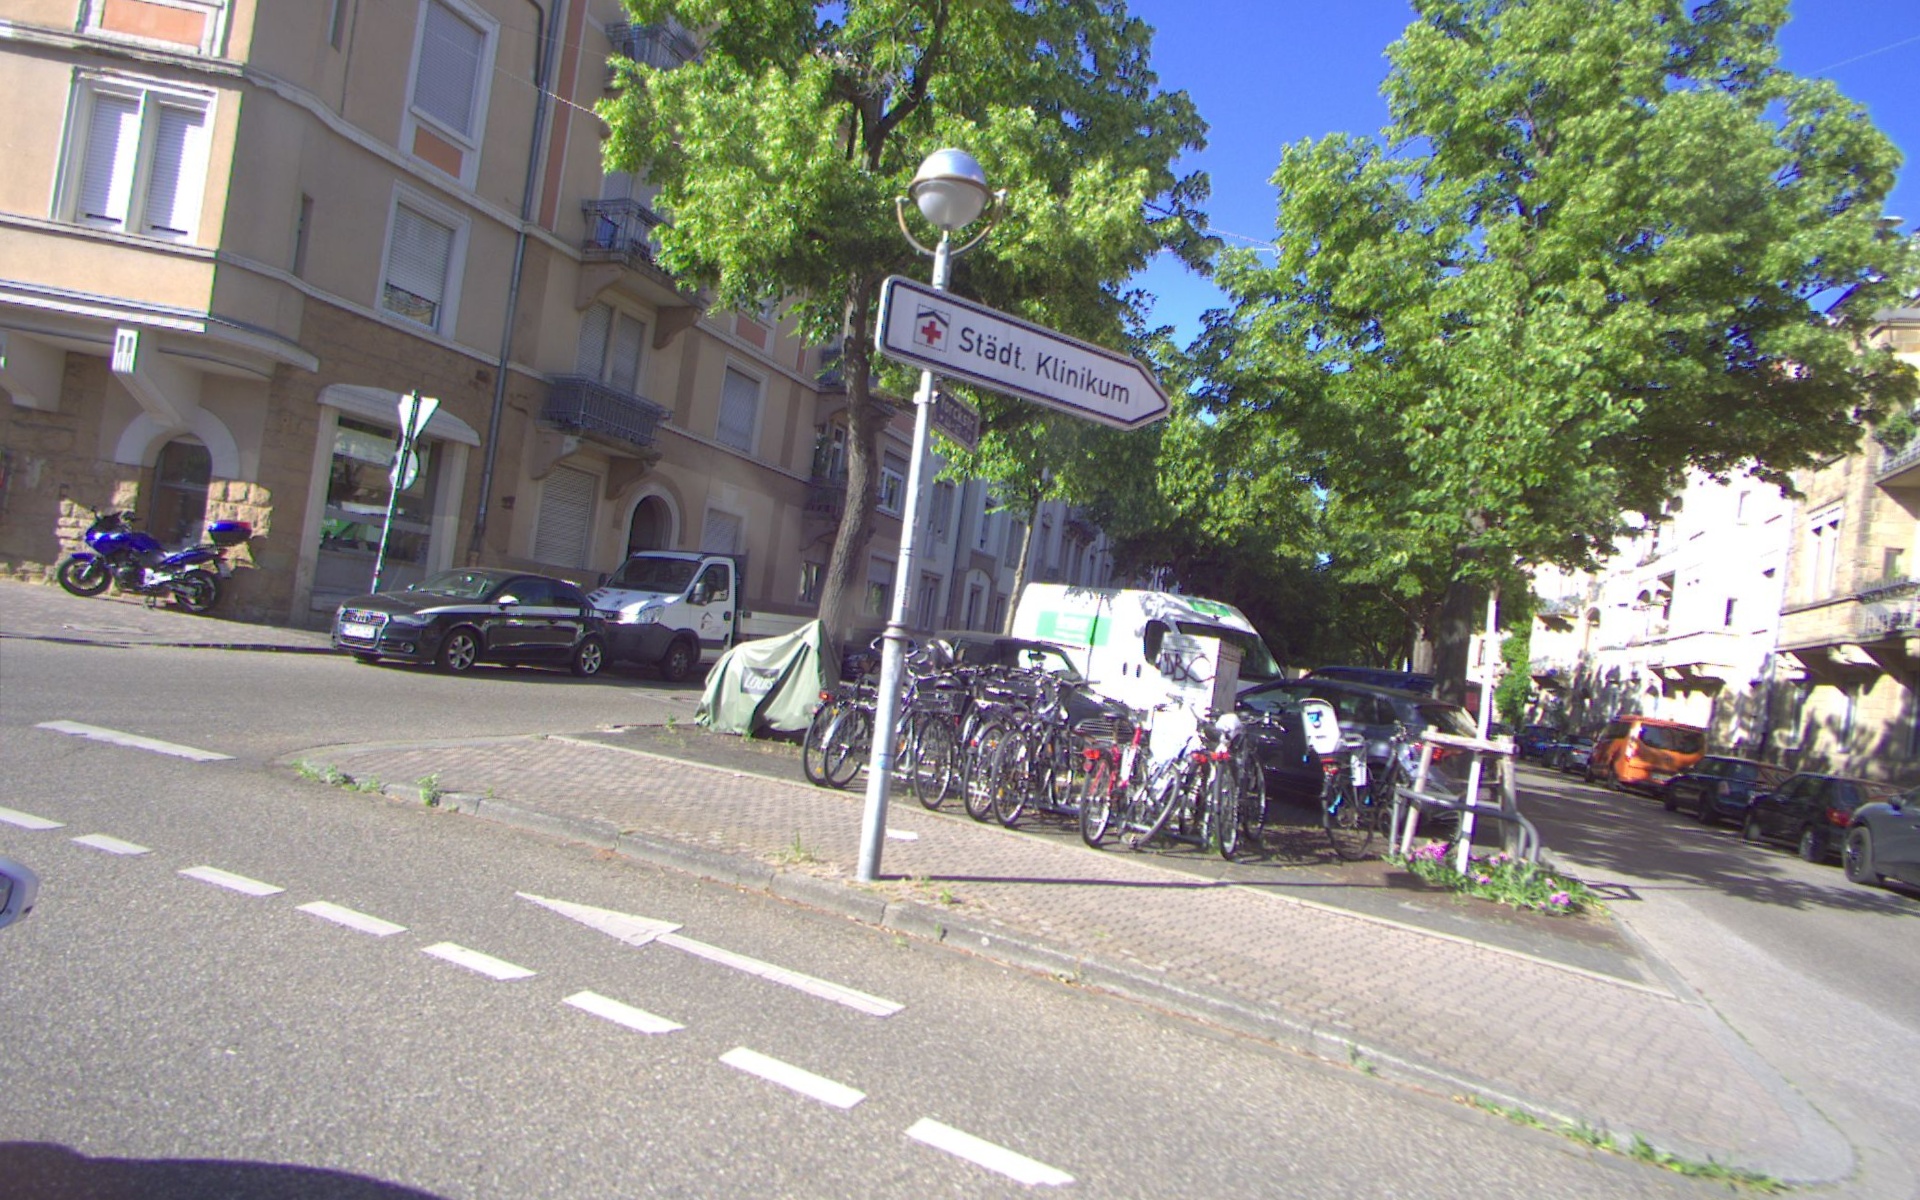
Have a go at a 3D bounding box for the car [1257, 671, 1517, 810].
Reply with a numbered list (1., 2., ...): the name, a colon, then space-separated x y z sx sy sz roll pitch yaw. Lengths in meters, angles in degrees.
1. car: 6.727 2.162 15.946 3.332 1.463 1.684 9 -1 37

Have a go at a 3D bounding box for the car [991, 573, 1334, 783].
1. car: 3.080 1.091 17.317 2.079 2.630 6.335 10 -1 -26

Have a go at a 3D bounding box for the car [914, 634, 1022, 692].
1. car: 0.306 1.924 29.949 1.657 1.406 4.004 6 -2 24

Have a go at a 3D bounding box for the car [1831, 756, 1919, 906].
1. car: 11.854 2.824 11.315 1.657 1.580 4.297 9 -2 23

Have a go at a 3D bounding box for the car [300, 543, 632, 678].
1. car: -6.515 0.249 13.792 1.657 1.406 3.926 7 -2 19

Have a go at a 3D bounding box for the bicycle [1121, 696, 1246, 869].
1. bicycle: 1.713 1.301 7.539 0.412 1.102 1.573 9 0 26

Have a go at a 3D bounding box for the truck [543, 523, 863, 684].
1. truck: -4.490 0.272 19.216 2.101 2.318 6.623 6 -2 24

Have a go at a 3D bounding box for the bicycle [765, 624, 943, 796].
1. bicycle: -0.816 0.886 8.304 0.528 1.206 1.680 9 -1 24

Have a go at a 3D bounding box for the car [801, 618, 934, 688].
1. car: -2.191 1.358 24.956 1.657 1.406 3.926 7 -2 19

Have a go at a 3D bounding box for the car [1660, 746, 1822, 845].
1. car: 15.921 3.926 20.697 1.657 1.397 3.283 9 -1 23

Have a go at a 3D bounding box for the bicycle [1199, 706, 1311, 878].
1. bicycle: 2.274 1.392 7.638 0.412 1.099 1.526 9 0 27

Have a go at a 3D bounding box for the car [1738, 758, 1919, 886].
1. car: 14.002 3.456 15.974 1.657 1.397 3.283 9 -1 23

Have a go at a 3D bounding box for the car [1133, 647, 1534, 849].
1. car: 4.150 1.602 11.650 1.678 1.463 3.875 10 -1 -41

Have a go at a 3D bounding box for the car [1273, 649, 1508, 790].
1. car: 7.764 2.125 18.349 1.676 1.886 3.349 10 -1 -37

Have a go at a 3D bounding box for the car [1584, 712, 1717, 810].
1. car: 18.784 4.292 27.577 1.907 2.067 4.277 9 -1 23

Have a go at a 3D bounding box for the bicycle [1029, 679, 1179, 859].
1. bicycle: 1.121 1.197 7.504 0.491 1.115 1.649 9 -1 26

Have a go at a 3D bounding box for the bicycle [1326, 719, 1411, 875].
1. bicycle: 3.470 1.604 8.490 0.412 1.099 1.526 9 0 27

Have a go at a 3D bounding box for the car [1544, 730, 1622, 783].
1. car: 22.245 5.544 36.016 1.657 1.397 3.498 9 -1 23

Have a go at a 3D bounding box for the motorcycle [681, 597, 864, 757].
1. motorcycle: -1.893 0.744 10.056 1.682 1.285 0.538 9 0 29

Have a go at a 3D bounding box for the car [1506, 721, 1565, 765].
1. car: 25.163 6.241 44.084 1.657 1.474 3.498 9 -1 23

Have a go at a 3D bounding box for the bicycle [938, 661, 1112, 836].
1. bicycle: 0.561 1.100 7.812 0.645 1.101 1.730 9 -1 24

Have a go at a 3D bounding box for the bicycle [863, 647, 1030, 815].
1. bicycle: -0.060 1.016 8.126 0.579 1.140 1.602 9 -1 24

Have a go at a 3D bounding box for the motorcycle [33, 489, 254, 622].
1. motorcycle: -11.389 -0.596 14.101 2.214 1.427 0.699 10 0 -8
